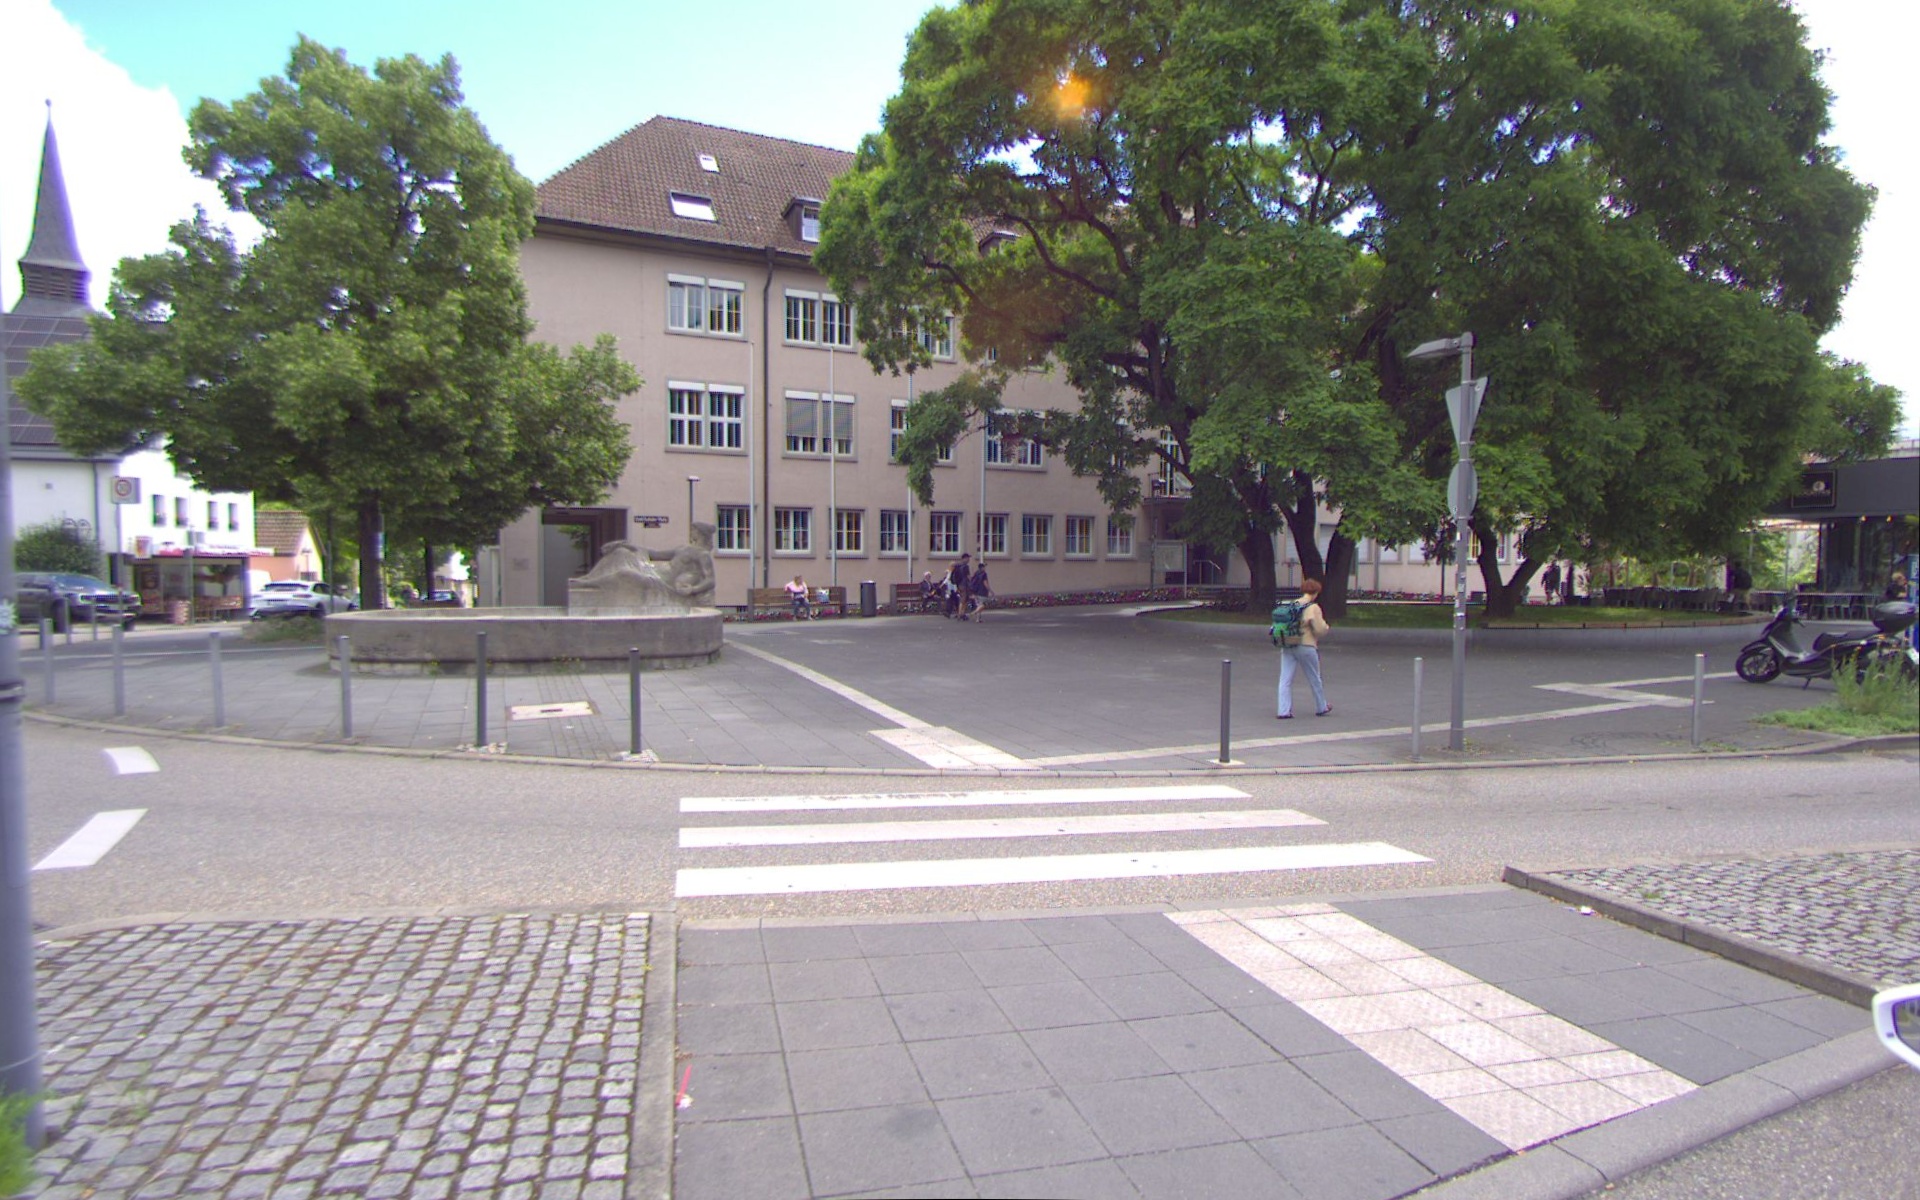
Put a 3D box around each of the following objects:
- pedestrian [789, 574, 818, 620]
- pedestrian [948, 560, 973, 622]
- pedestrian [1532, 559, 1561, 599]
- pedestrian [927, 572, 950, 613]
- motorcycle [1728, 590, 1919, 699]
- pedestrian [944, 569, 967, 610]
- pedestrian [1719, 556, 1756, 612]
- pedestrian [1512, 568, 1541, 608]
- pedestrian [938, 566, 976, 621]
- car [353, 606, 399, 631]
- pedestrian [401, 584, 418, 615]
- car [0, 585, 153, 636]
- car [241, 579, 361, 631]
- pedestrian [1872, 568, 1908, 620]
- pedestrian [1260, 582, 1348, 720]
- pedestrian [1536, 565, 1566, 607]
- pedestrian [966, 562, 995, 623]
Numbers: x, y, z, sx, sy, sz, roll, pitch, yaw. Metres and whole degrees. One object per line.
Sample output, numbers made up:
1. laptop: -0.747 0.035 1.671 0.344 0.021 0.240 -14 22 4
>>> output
1. pedestrian: -4.415 -0.094 28.382 0.689 1.279 0.578 2 1 -19
2. pedestrian: 0.011 -0.239 27.052 0.563 1.631 0.437 1 5 -7
3. pedestrian: 23.865 -0.866 40.863 0.627 1.598 0.784 0 1 -23
4. pedestrian: -0.652 -0.224 30.419 0.479 1.198 0.580 2 1 25
5. motorcycle: 12.018 0.560 13.979 0.574 1.307 2.129 -2 3 -19
6. pedestrian: -0.129 -0.325 31.004 0.479 1.238 0.580 2 1 25
7. pedestrian: 22.321 -0.461 28.844 0.575 1.598 0.612 0 1 -26
8. pedestrian: 23.061 -0.495 40.895 0.777 1.598 0.633 0 1 -22
9. pedestrian: -0.076 -0.194 28.309 0.689 1.512 0.812 2 1 36
10. car: -33.334 1.059 57.419 1.707 1.283 3.979 1 1 -22
11. pedestrian: -28.253 -0.035 51.559 0.588 1.569 0.578 2 1 -17
12. car: -27.361 0.311 30.712 3.923 1.439 1.689 1 1 -4
13. car: -21.075 0.122 32.320 1.950 1.551 3.989 1 1 -14
14. pedestrian: 25.476 -0.175 27.511 0.609 1.398 0.577 0 1 -34
15. pedestrian: 3.977 0.570 11.636 0.775 1.535 0.550 -1 3 -15
16. pedestrian: 23.429 -0.540 39.840 0.627 1.649 0.784 0 1 -23
17. pedestrian: 0.540 -0.192 26.411 0.627 1.544 0.576 1 5 -7
